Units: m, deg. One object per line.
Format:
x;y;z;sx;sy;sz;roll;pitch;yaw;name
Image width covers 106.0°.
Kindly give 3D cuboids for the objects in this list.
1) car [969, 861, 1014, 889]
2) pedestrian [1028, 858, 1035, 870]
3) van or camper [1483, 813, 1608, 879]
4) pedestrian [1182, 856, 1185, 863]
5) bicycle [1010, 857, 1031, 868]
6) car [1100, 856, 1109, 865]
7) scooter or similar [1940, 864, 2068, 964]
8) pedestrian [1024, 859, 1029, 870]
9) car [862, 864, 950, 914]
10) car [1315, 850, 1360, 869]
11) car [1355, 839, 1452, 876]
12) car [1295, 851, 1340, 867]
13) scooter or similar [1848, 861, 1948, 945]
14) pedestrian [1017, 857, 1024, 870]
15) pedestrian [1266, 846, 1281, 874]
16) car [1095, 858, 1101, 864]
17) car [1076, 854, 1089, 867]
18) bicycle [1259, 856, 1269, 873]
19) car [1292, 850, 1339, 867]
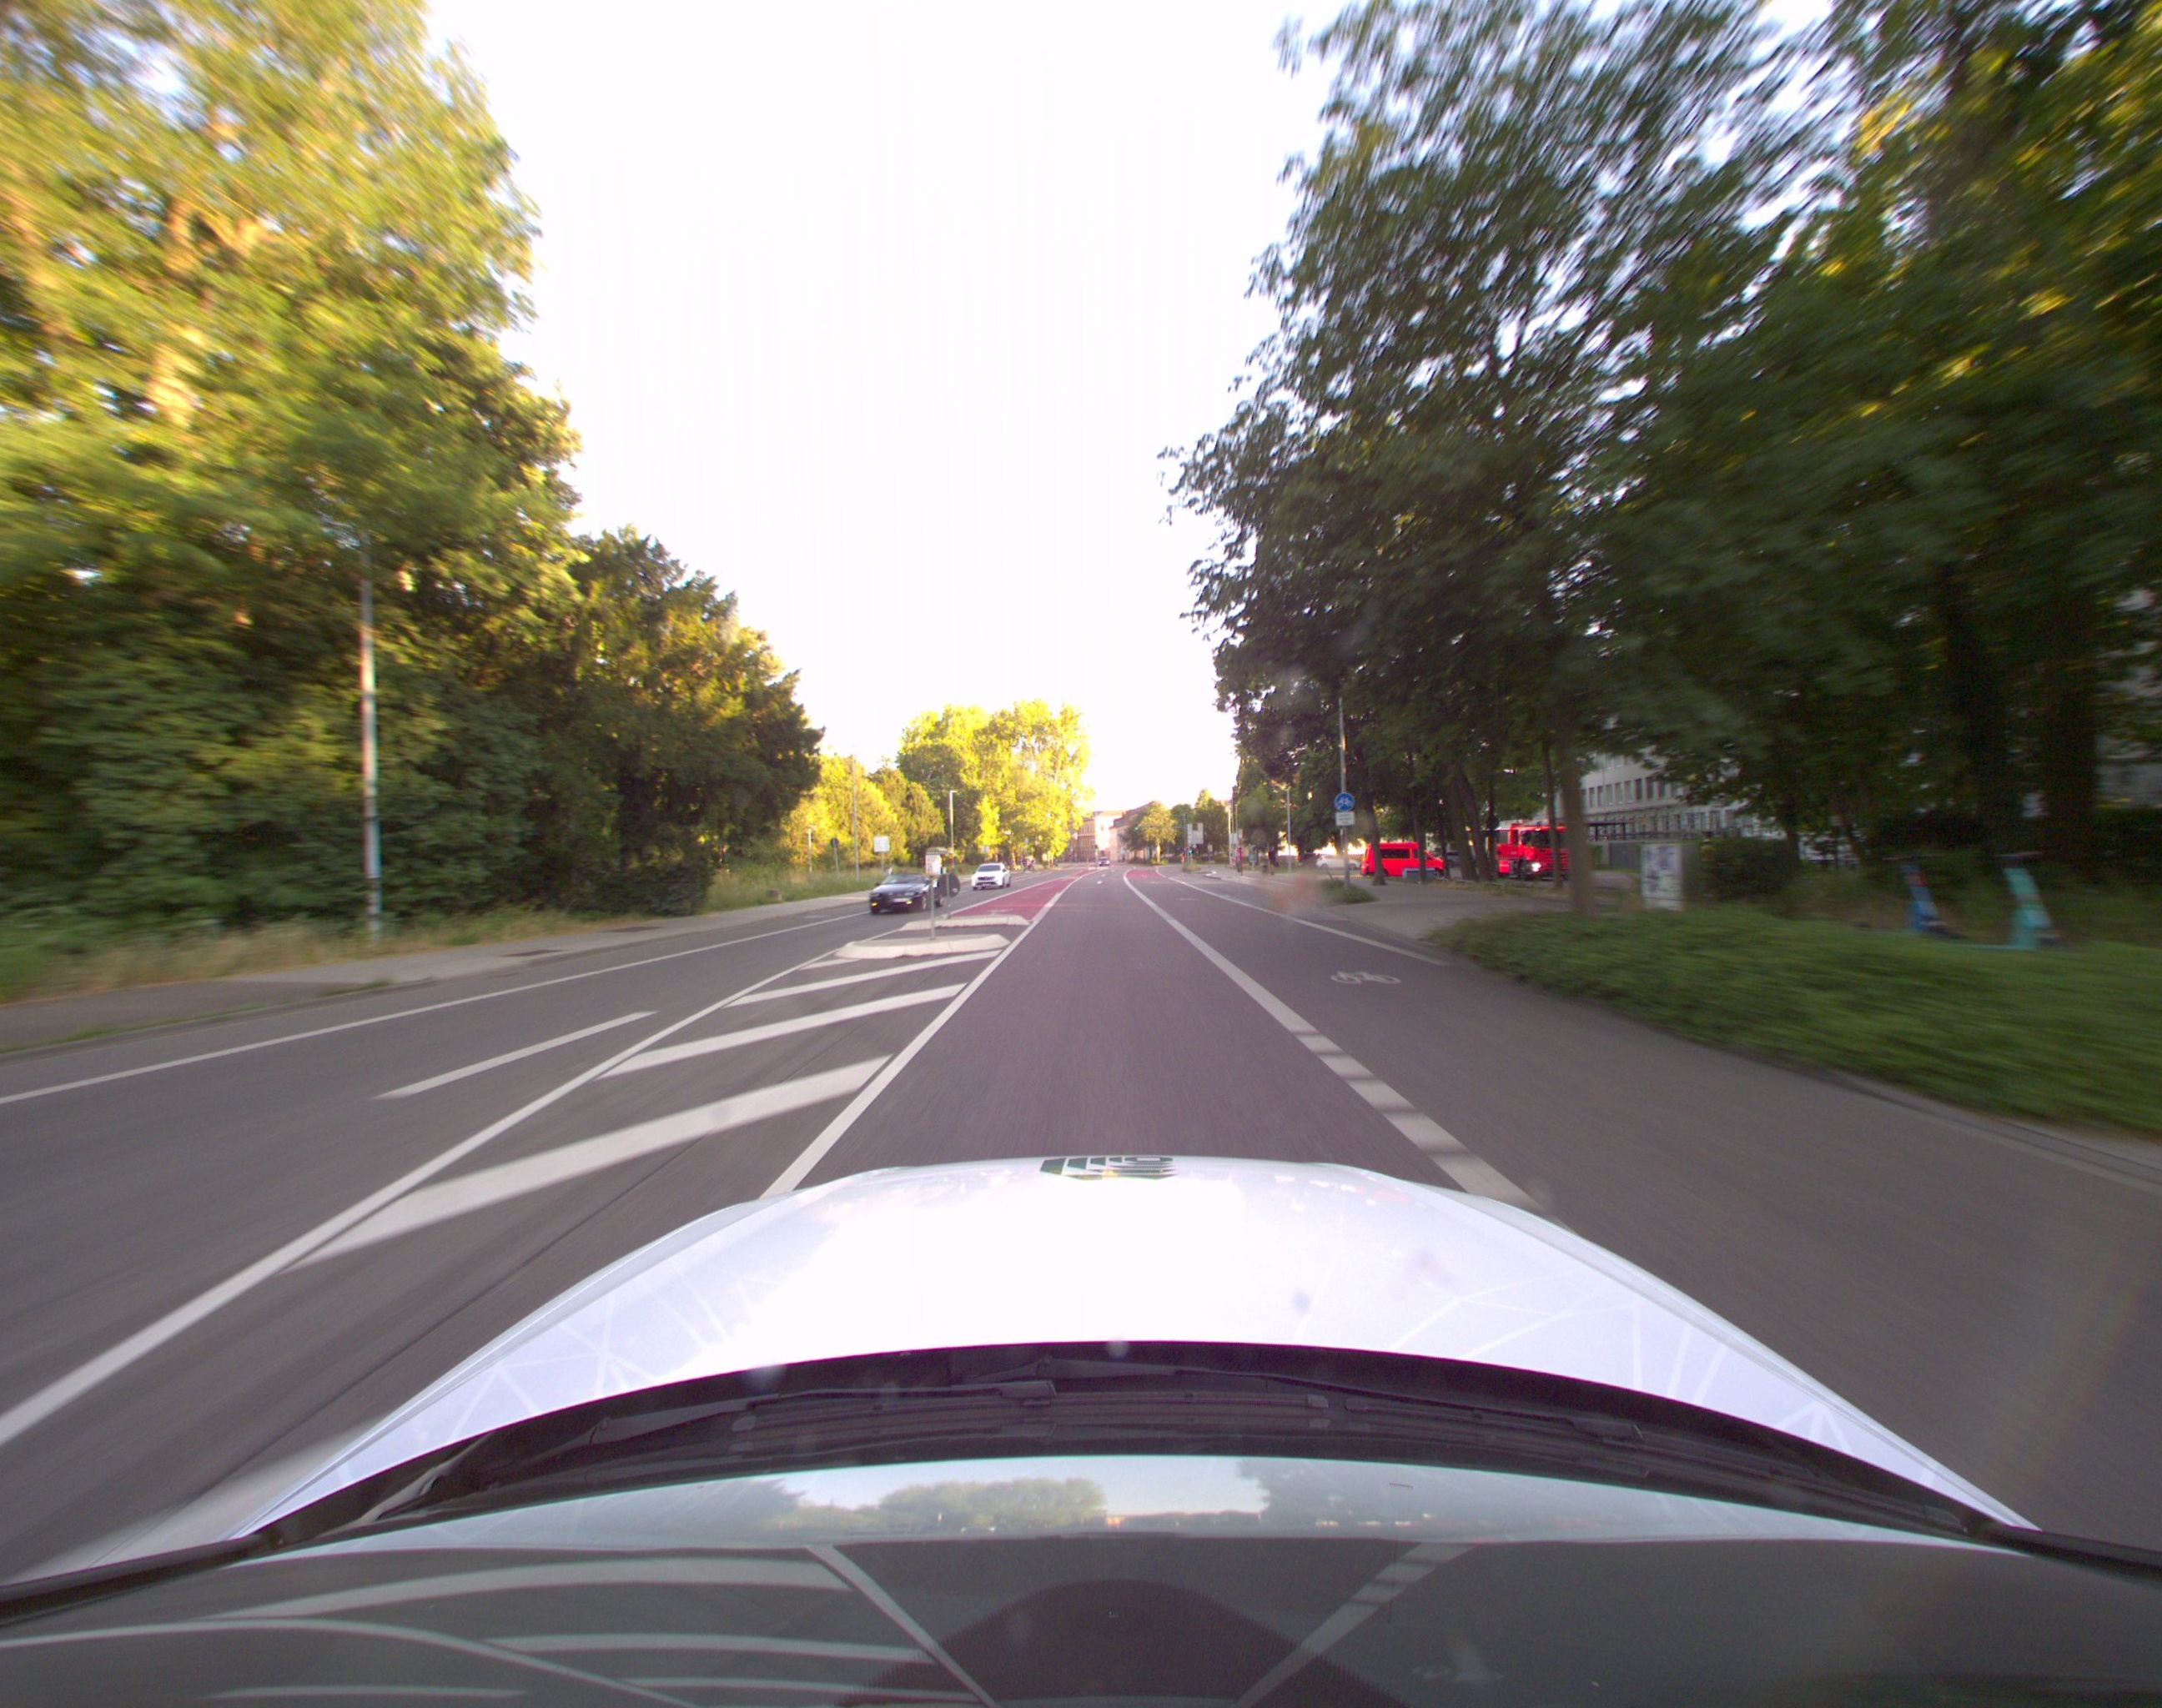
-5.065;1.147;46.487;1.790;1.453;4.131;-2;0;4;car
-6.624;1.310;108.717;0.786;1.580;0.748;0;0;10;pedestrian
24.697;-0.398;43.863;3.415;3.200;8.257;0;0;11;van or camper
17.068;0.916;135.856;0.389;1.238;0.404;-2;-1;2;pedestrian
-7.547;1.050;101.750;2.447;1.195;0.759;-2;0;10;bicycle
4.244;1.211;147.387;1.487;1.486;3.492;-2;0;2;car
10.369;0.649;9.181;0.309;1.041;0.981;-2;0;2;scooter or similar
-7.128;1.332;106.369;0.579;1.430;0.559;0;0;-7;pedestrian
-5.775;1.115;27.337;1.790;1.453;4.131;-2;0;4;car
23.811;0.529;75.682;3.752;1.590;1.719;-2;0;8;car
18.607;0.202;47.126;4.882;1.990;1.927;-2;0;8;car
25.665;0.510;88.398;4.433;1.590;1.719;-2;0;8;car
10.676;0.617;10.669;0.309;1.041;0.981;-2;0;2;scooter or similar
-7.549;1.146;101.775;0.786;1.580;0.748;0;0;10;pedestrian
12.107;0.352;51.299;0.766;1.740;0.732;-2;0;2;pedestrian
4.220;1.656;203.219;1.487;1.486;3.492;-2;0;2;car
0.244;0.792;102.469;1.487;1.486;3.492;-2;0;2;car
11.556;0.654;51.411;0.298;1.099;1.523;-2;0;3;bicycle
24.485;0.477;85.130;4.433;1.590;1.719;-2;0;8;car
